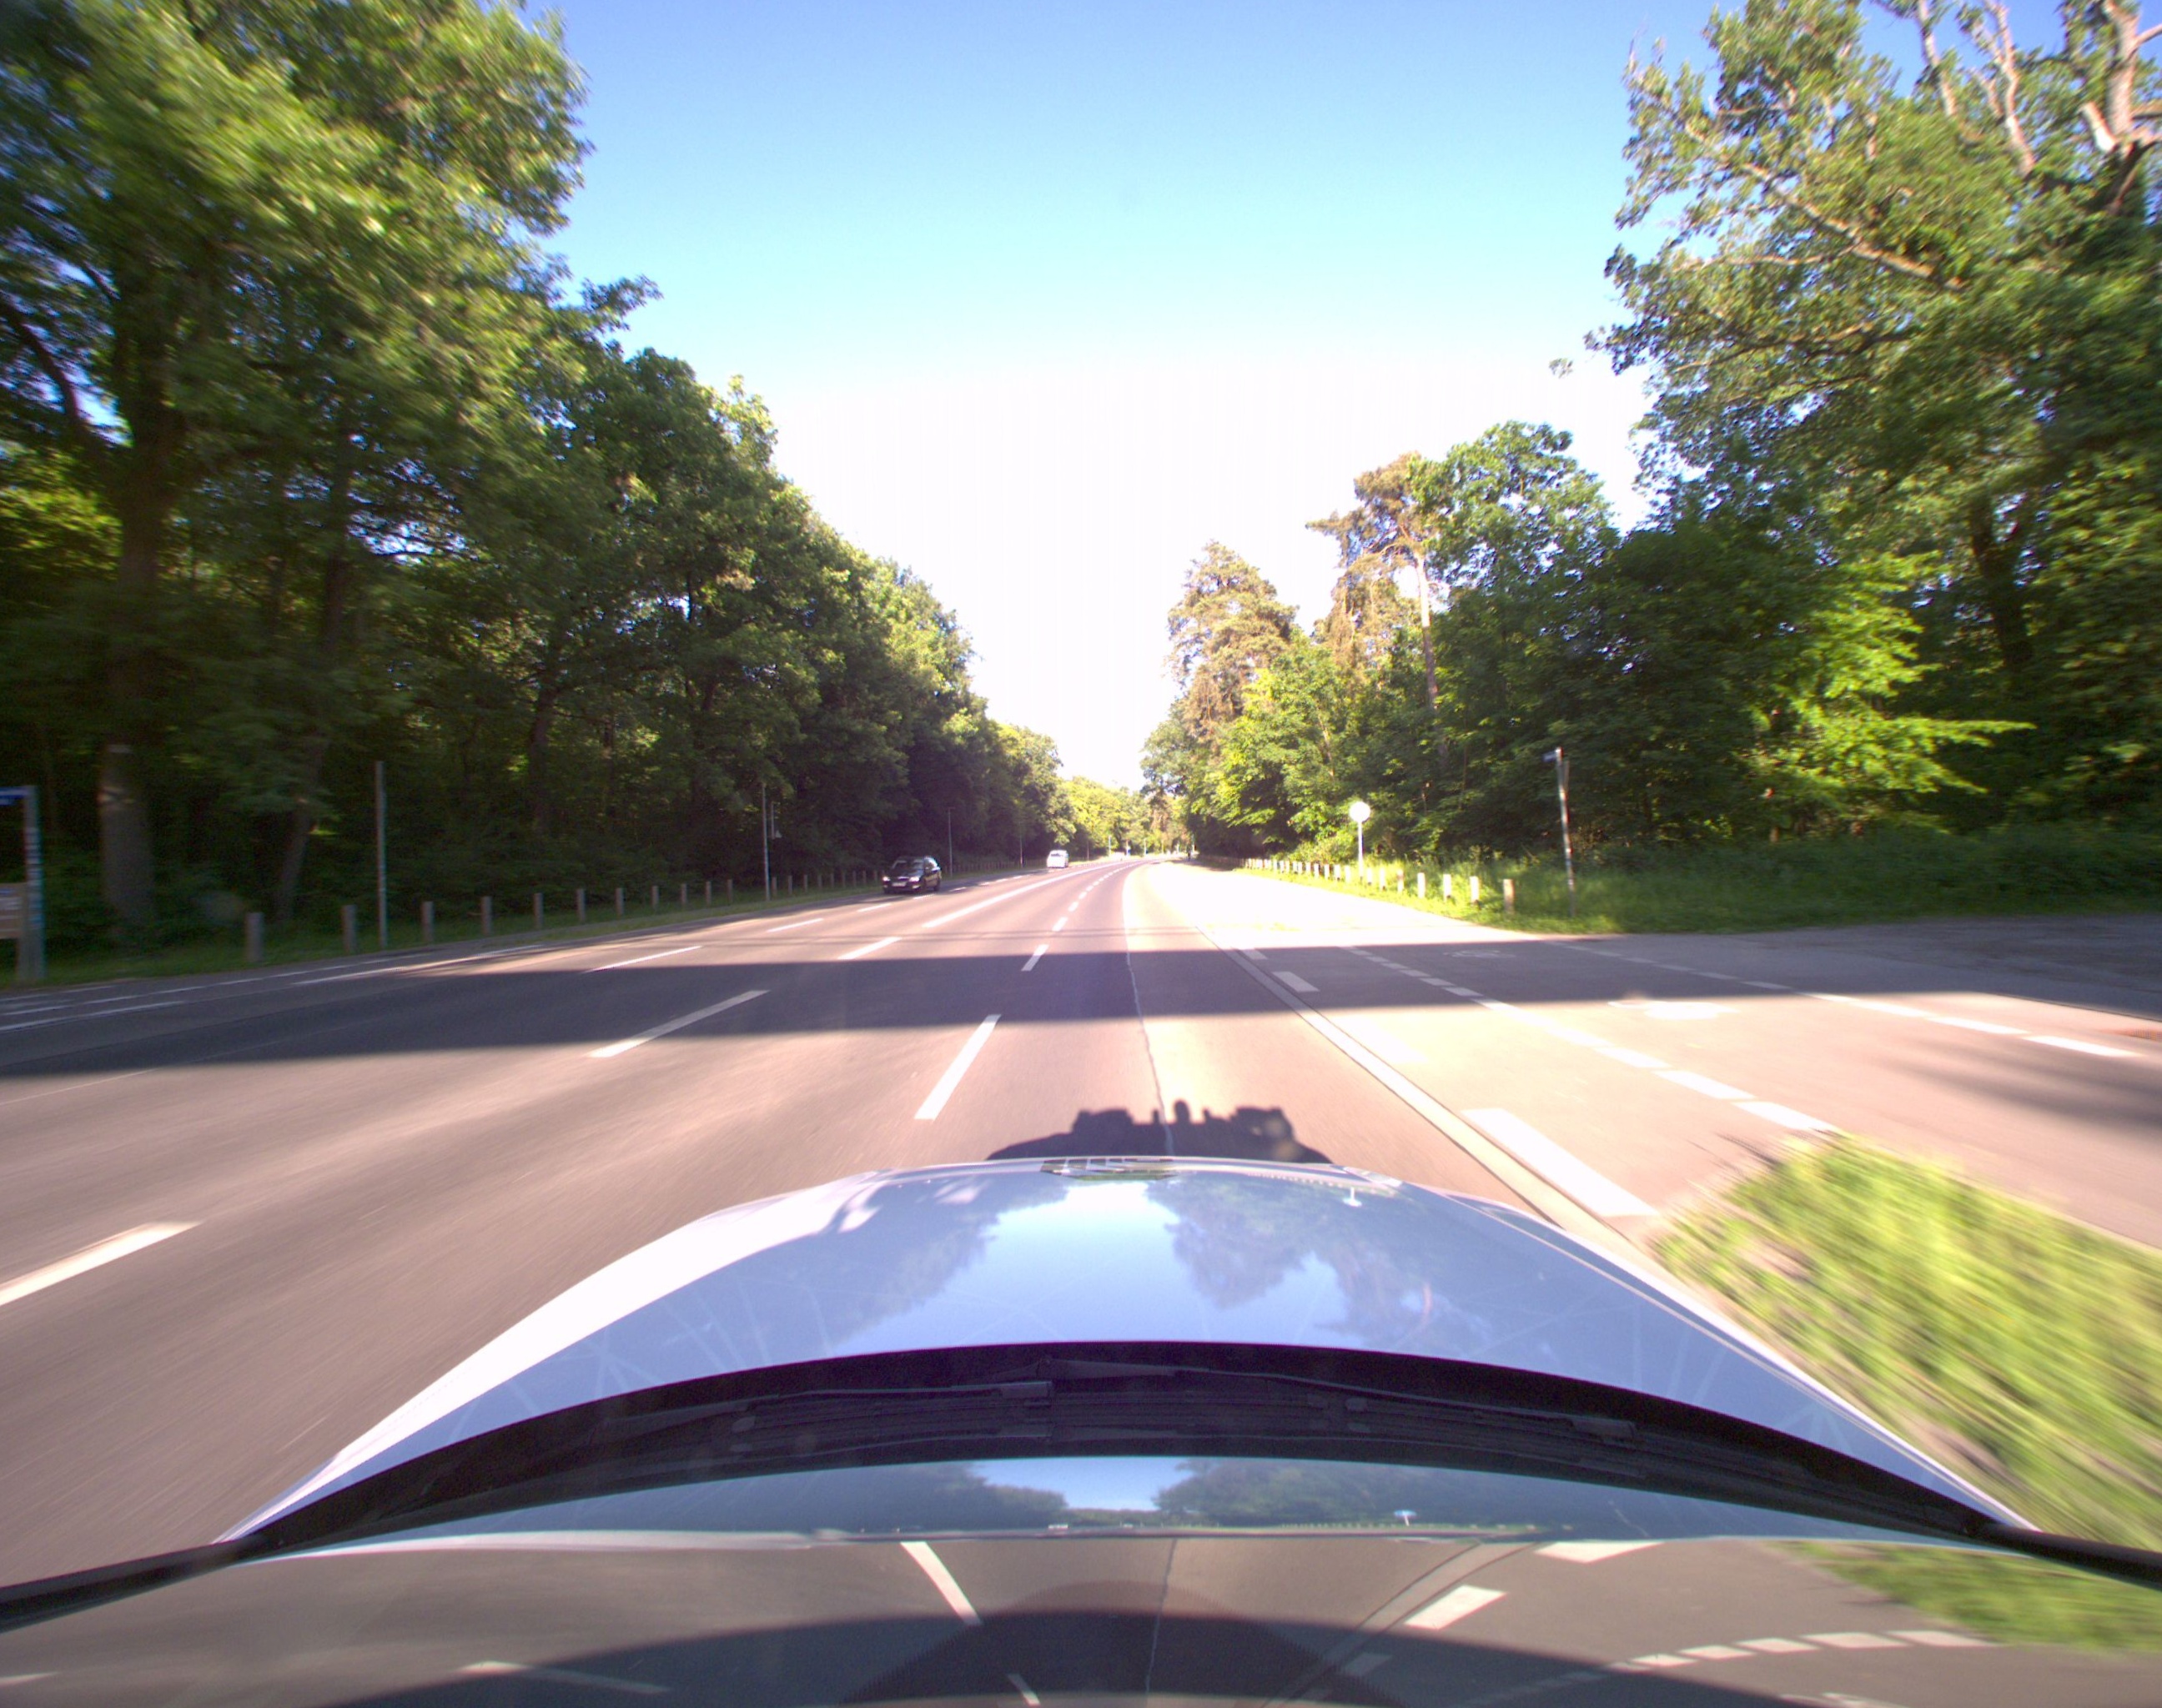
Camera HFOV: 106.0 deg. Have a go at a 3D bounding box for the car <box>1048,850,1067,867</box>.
[{"bbox_3d":[-2.437,0.437,85.802,1.699,1.709,4.001,-1,0,1],"label":"car"}]

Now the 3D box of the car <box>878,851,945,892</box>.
[{"bbox_3d":[-6.945,0.675,33.747,1.715,1.574,4.180,0,0,2],"label":"car"}]

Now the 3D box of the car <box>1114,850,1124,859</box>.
[{"bbox_3d":[7.543,0.056,161.690,1.775,1.709,4.007,-1,0,6],"label":"car"}]
